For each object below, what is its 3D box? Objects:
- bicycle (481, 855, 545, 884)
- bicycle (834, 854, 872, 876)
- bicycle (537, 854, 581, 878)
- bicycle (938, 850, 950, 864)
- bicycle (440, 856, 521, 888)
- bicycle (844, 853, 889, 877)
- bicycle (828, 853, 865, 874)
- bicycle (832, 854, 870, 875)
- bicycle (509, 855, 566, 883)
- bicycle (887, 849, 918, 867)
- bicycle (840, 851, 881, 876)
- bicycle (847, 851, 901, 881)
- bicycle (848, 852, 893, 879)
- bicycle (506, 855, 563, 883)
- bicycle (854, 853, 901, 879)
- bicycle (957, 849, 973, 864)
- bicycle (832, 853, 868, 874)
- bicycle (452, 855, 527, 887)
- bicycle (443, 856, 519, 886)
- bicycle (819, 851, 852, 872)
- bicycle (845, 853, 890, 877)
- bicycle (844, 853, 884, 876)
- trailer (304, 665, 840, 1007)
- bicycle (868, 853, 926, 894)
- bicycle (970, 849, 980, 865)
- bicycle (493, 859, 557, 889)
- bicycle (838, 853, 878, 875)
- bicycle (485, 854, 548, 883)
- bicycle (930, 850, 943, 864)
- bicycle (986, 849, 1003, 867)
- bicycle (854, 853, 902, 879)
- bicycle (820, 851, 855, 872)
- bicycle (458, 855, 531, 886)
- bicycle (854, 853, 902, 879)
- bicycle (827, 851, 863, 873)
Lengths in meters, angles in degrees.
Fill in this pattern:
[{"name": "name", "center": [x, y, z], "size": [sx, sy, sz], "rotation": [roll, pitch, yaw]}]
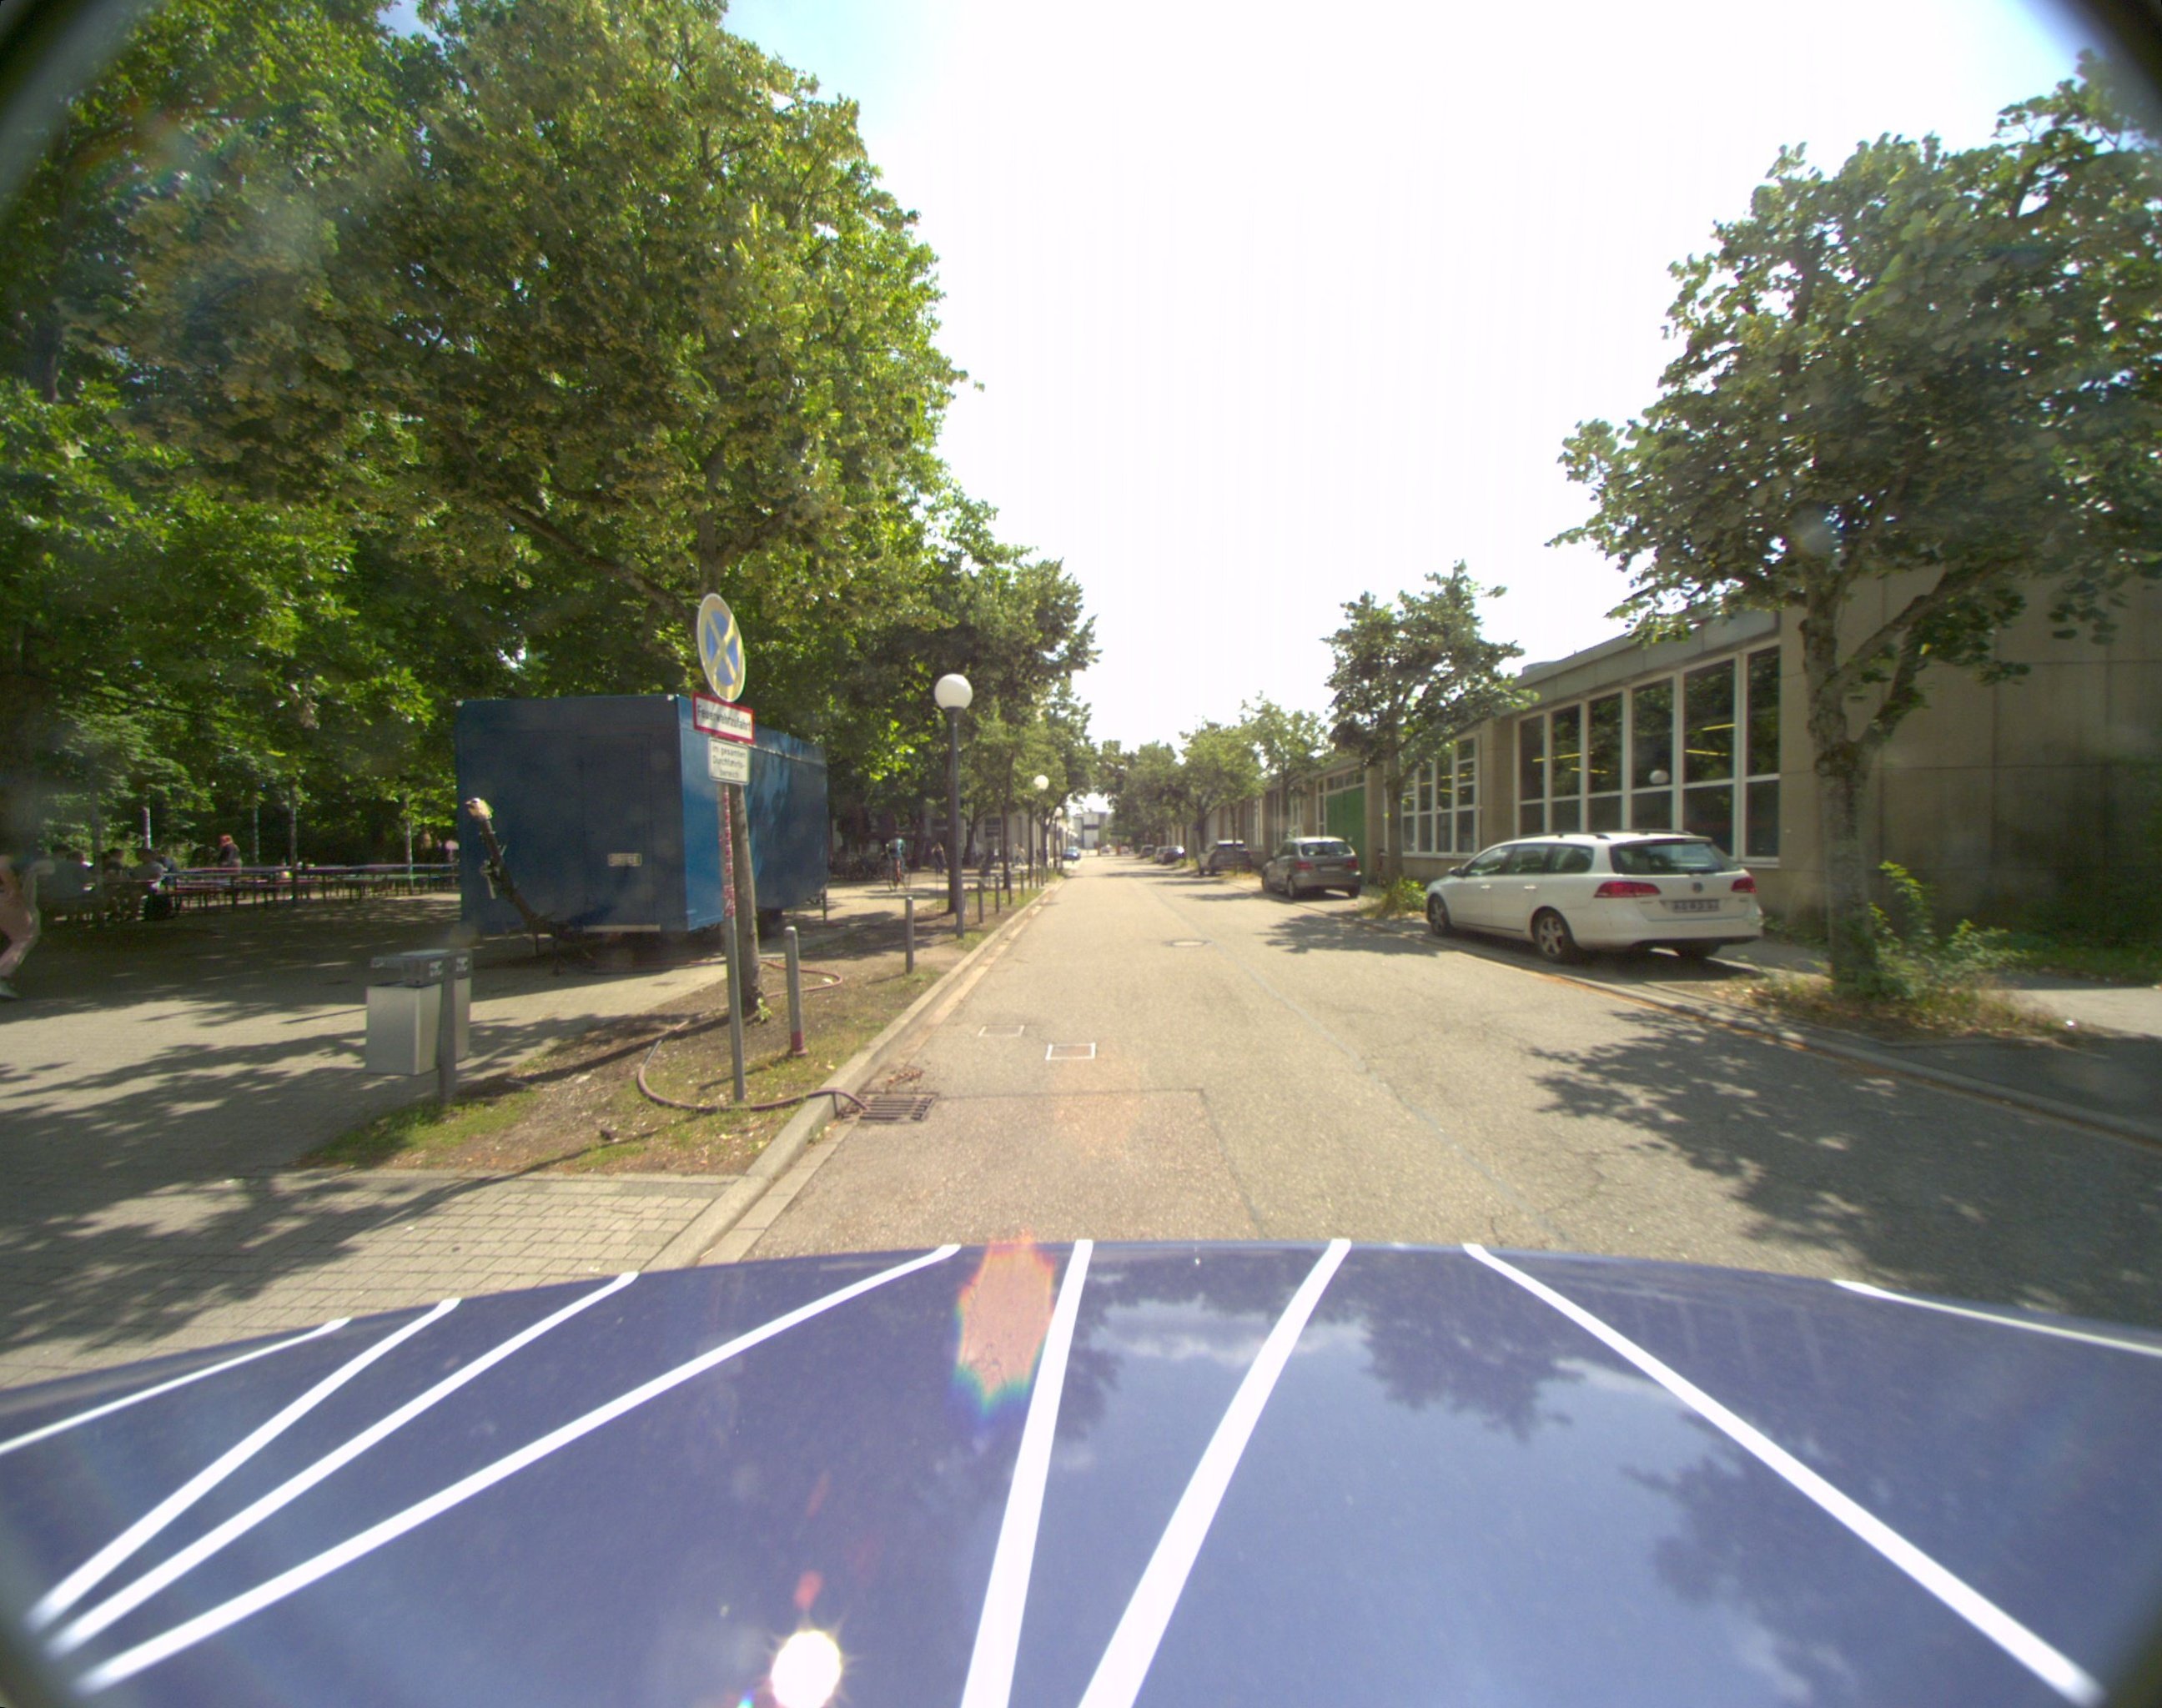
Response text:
[{"name": "bicycle", "center": [-20.699, 0.557, 27.714], "size": [1.786, 1.033, 0.478], "rotation": [0, 1, -20]}, {"name": "bicycle", "center": [-11.670, 0.542, 38.869], "size": [1.796, 1.064, 0.425], "rotation": [-1, 1, -29]}, {"name": "bicycle", "center": [-24.057, 0.531, 35.013], "size": [1.613, 1.087, 0.477], "rotation": [-1, 1, -28]}, {"name": "bicycle", "center": [-10.426, 0.236, 57.822], "size": [0.481, 1.079, 1.516], "rotation": [1, -1, 7]}, {"name": "bicycle", "center": [-19.437, 0.577, 24.644], "size": [1.961, 0.973, 0.612], "rotation": [0, 1, -18]}, {"name": "bicycle", "center": [-9.737, 0.473, 34.557], "size": [1.916, 1.053, 0.325], "rotation": [-1, 1, -22]}, {"name": "bicycle", "center": [-12.336, 0.500, 39.916], "size": [1.795, 1.064, 0.425], "rotation": [-1, 1, -27]}, {"name": "bicycle", "center": [-11.879, 0.536, 39.256], "size": [1.796, 1.064, 0.425], "rotation": [-1, 1, -29]}, {"name": "bicycle", "center": [-21.247, 0.572, 29.725], "size": [1.755, 1.033, 0.478], "rotation": [0, 1, -20]}, {"name": "bicycle", "center": [-12.048, 0.253, 51.381], "size": [1.928, 1.103, 0.631], "rotation": [-2, 3, -35]}, {"name": "bicycle", "center": [-10.341, 0.427, 35.698], "size": [1.742, 1.148, 0.493], "rotation": [-1, 1, -35]}, {"name": "bicycle", "center": [-8.337, 0.474, 30.682], "size": [2.021, 1.160, 0.651], "rotation": [-1, 1, -10]}, {"name": "bicycle", "center": [-8.828, 0.480, 31.870], "size": [1.773, 1.076, 0.438], "rotation": [-1, 1, -10]}, {"name": "bicycle", "center": [-21.127, 0.576, 29.385], "size": [1.755, 1.033, 0.347], "rotation": [0, 1, -20]}, {"name": "bicycle", "center": [-8.929, 0.515, 33.390], "size": [1.950, 1.076, 0.404], "rotation": [-1, 1, -10]}, {"name": "bicycle", "center": [-8.761, 0.217, 57.403], "size": [0.491, 1.134, 1.529], "rotation": [0, -1, 21]}, {"name": "bicycle", "center": [-12.271, 0.502, 40.412], "size": [1.795, 1.064, 0.425], "rotation": [-1, 1, -27]}, {"name": "bicycle", "center": [-20.140, 0.569, 25.903], "size": [1.961, 1.033, 0.434], "rotation": [0, 1, -18]}, {"name": "bicycle", "center": [-20.082, 0.558, 25.462], "size": [1.961, 0.973, 0.438], "rotation": [0, 1, -18]}, {"name": "bicycle", "center": [-13.996, 0.437, 43.321], "size": [0.344, 1.163, 1.849], "rotation": [0, 1, 44]}, {"name": "bicycle", "center": [-9.635, 0.475, 34.264], "size": [1.916, 1.053, 0.325], "rotation": [-1, 1, -22]}, {"name": "bicycle", "center": [-10.405, 0.492, 36.497], "size": [1.742, 1.046, 0.493], "rotation": [-1, 1, -35]}, {"name": "trailer", "center": [-5.501, -0.193, 9.880], "size": [2.698, 3.034, 6.256], "rotation": [0, 1, 0]}, {"name": "bicycle", "center": [-5.547, 0.565, 23.084], "size": [0.651, 1.117, 2.299], "rotation": [2, 2, 15]}, {"name": "bicycle", "center": [-8.014, 0.226, 57.600], "size": [0.561, 1.134, 1.490], "rotation": [1, -1, -1]}, {"name": "bicycle", "center": [-19.848, 0.707, 27.170], "size": [1.786, 1.033, 0.434], "rotation": [0, 1, -20]}, {"name": "bicycle", "center": [-10.806, 0.458, 36.807], "size": [1.800, 1.022, 0.439], "rotation": [-1, 1, -31]}, {"name": "bicycle", "center": [-21.137, 0.525, 28.477], "size": [1.834, 1.033, 0.478], "rotation": [0, 1, -20]}, {"name": "bicycle", "center": [-10.926, 0.221, 57.547], "size": [0.481, 1.079, 1.697], "rotation": [1, -1, 7]}, {"name": "bicycle", "center": [-5.832, 0.247, 51.118], "size": [0.629, 1.078, 1.684], "rotation": [-4, 4, -21]}, {"name": "bicycle", "center": [-8.709, 0.503, 32.712], "size": [1.950, 1.076, 0.404], "rotation": [-1, 1, -10]}, {"name": "bicycle", "center": [-13.623, 0.424, 42.527], "size": [1.848, 1.163, 0.344], "rotation": [-1, 1, -33]}, {"name": "bicycle", "center": [-20.469, 0.573, 26.559], "size": [1.961, 1.033, 0.478], "rotation": [0, 1, -18]}, {"name": "bicycle", "center": [-8.623, 0.492, 32.290], "size": [1.950, 1.076, 0.404], "rotation": [-1, 1, -10]}, {"name": "bicycle", "center": [-12.963, 0.424, 41.735], "size": [1.796, 1.163, 0.401], "rotation": [-1, 1, -33]}]
